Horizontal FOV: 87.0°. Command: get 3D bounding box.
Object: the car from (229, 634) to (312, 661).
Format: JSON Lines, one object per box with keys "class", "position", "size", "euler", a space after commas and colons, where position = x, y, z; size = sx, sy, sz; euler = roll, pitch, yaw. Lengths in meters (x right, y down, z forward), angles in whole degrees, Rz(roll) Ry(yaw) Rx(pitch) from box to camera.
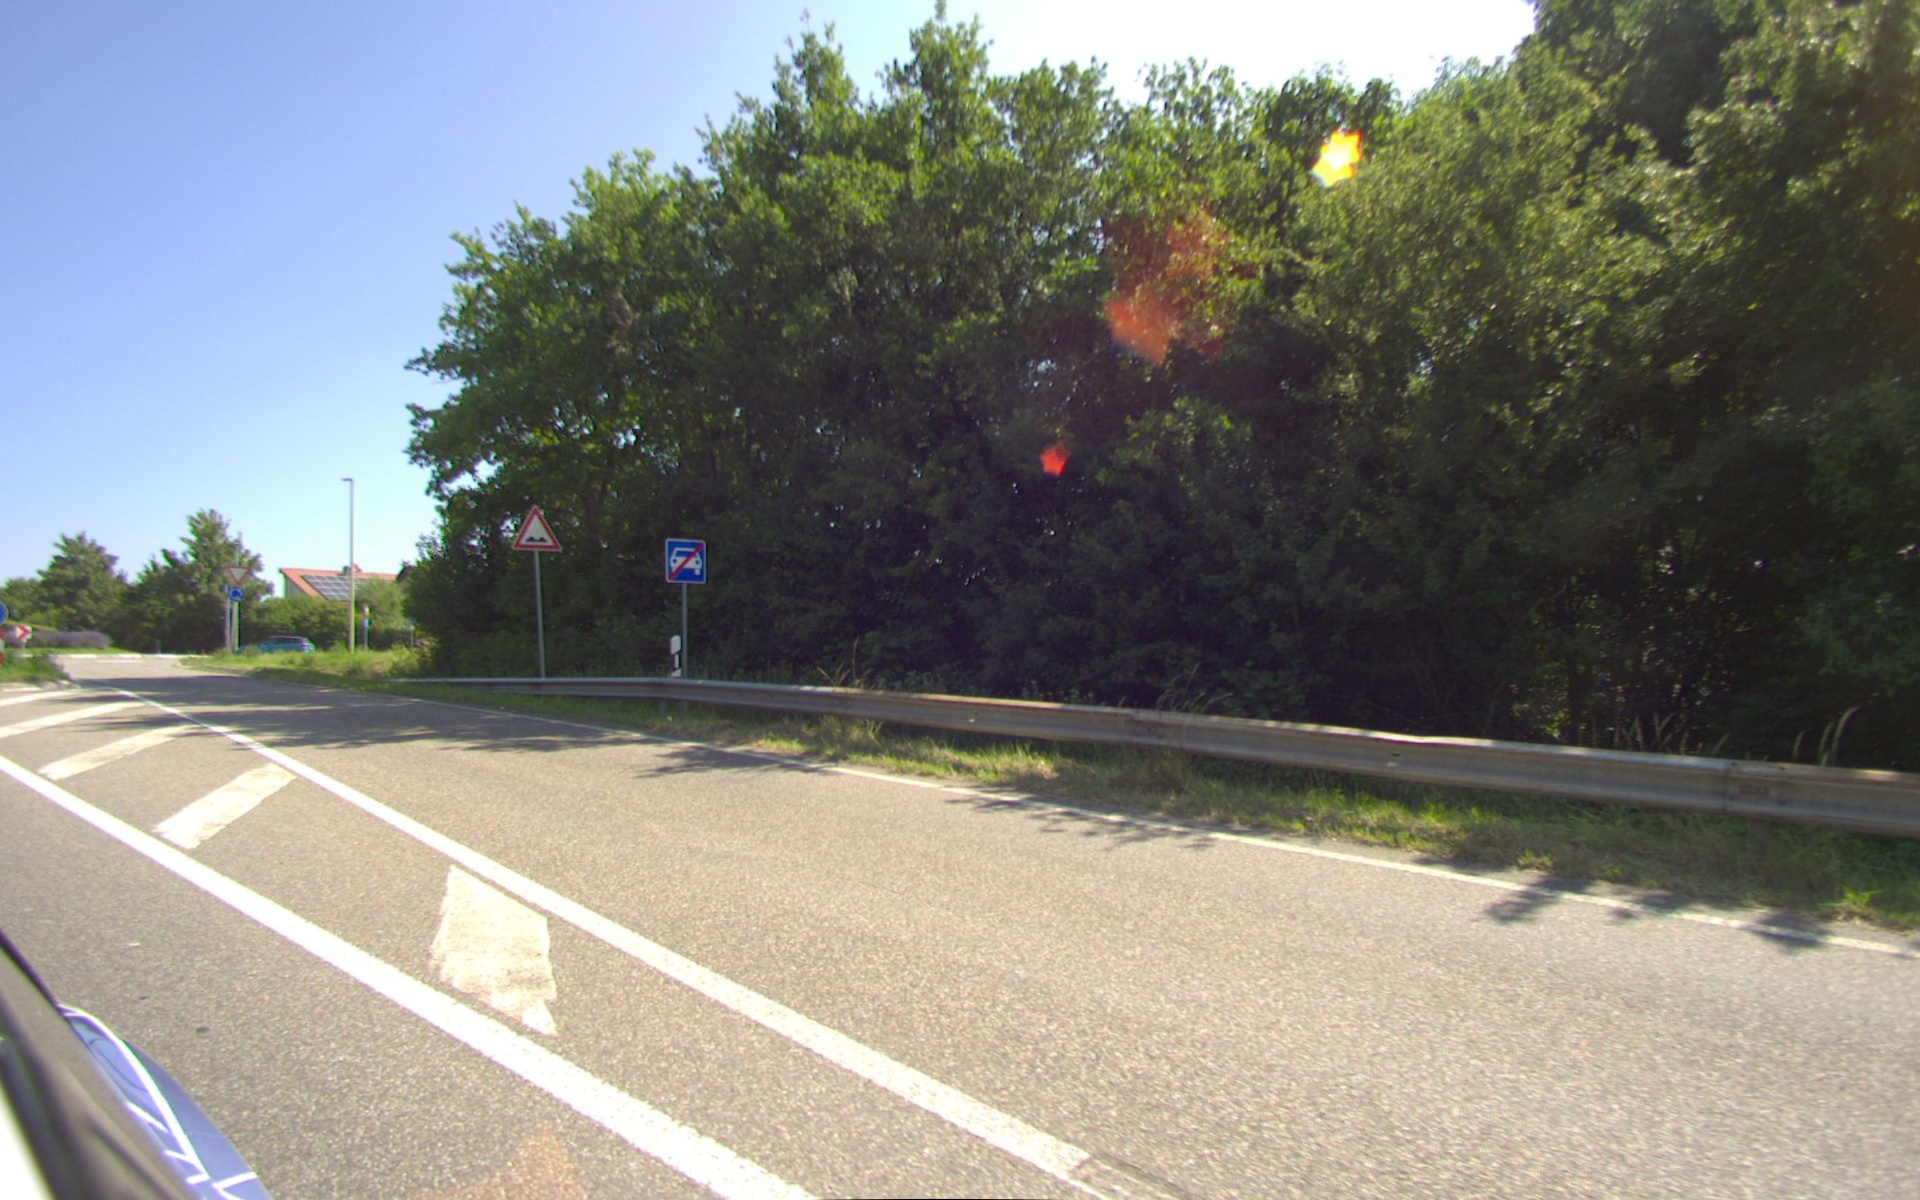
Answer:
{"class": "car", "position": [-42.052, 2.915, 61.816], "size": [3.930, 1.588, 1.654], "euler": [1, -3, -21]}
